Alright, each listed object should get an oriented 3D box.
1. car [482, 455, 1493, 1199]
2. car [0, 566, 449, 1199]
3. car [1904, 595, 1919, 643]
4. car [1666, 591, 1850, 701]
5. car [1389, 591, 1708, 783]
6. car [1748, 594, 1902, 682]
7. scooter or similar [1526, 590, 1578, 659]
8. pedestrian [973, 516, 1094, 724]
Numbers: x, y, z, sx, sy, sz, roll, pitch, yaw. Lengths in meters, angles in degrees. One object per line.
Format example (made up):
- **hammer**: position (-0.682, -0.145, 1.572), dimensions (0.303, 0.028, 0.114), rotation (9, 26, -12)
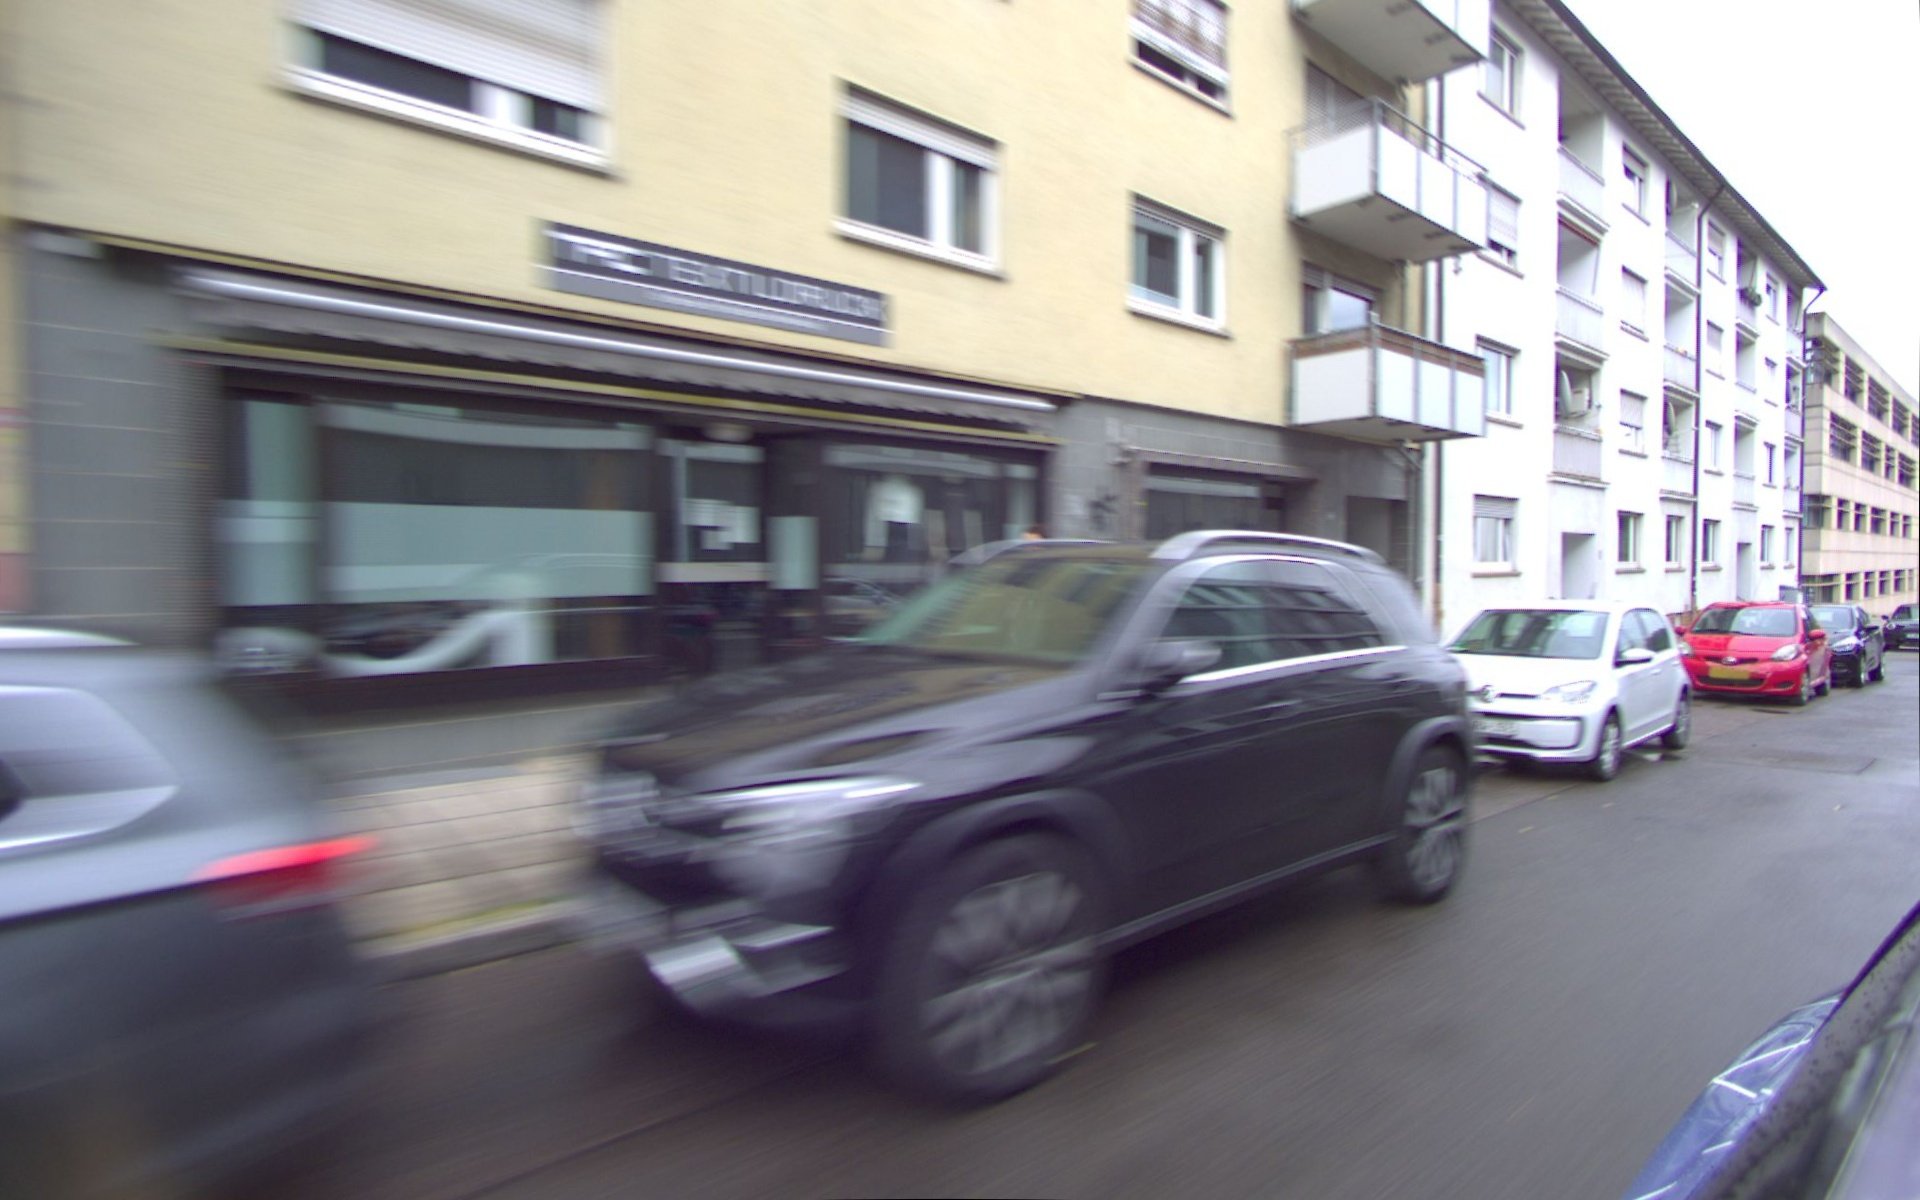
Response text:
- **car**: position (0.488, 0.535, 4.572), dimensions (4.434, 1.796, 1.966), rotation (0, 1, -42)
- **car**: position (-3.346, 0.698, 1.363), dimensions (4.437, 1.538, 1.794), rotation (0, 1, -44)
- **car**: position (30.495, 0.583, 31.238), dimensions (3.712, 1.428, 1.629), rotation (0, 1, -41)
- **car**: position (12.250, 0.616, 15.469), dimensions (3.423, 1.474, 1.629), rotation (0, 1, -42)
- **car**: position (5.658, 0.660, 9.585), dimensions (3.423, 1.474, 1.629), rotation (0, 1, -42)
- **car**: position (15.951, 0.622, 18.617), dimensions (3.712, 1.428, 1.629), rotation (0, 1, -41)
- **scooter or similar**: position (11.143, 0.449, 19.036), dimensions (1.297, 1.246, 0.444), rotation (0, 1, -41)
- **pedestrian**: position (0.670, 0.154, 9.284), dimensions (0.735, 1.795, 0.715), rotation (0, 4, -41)
